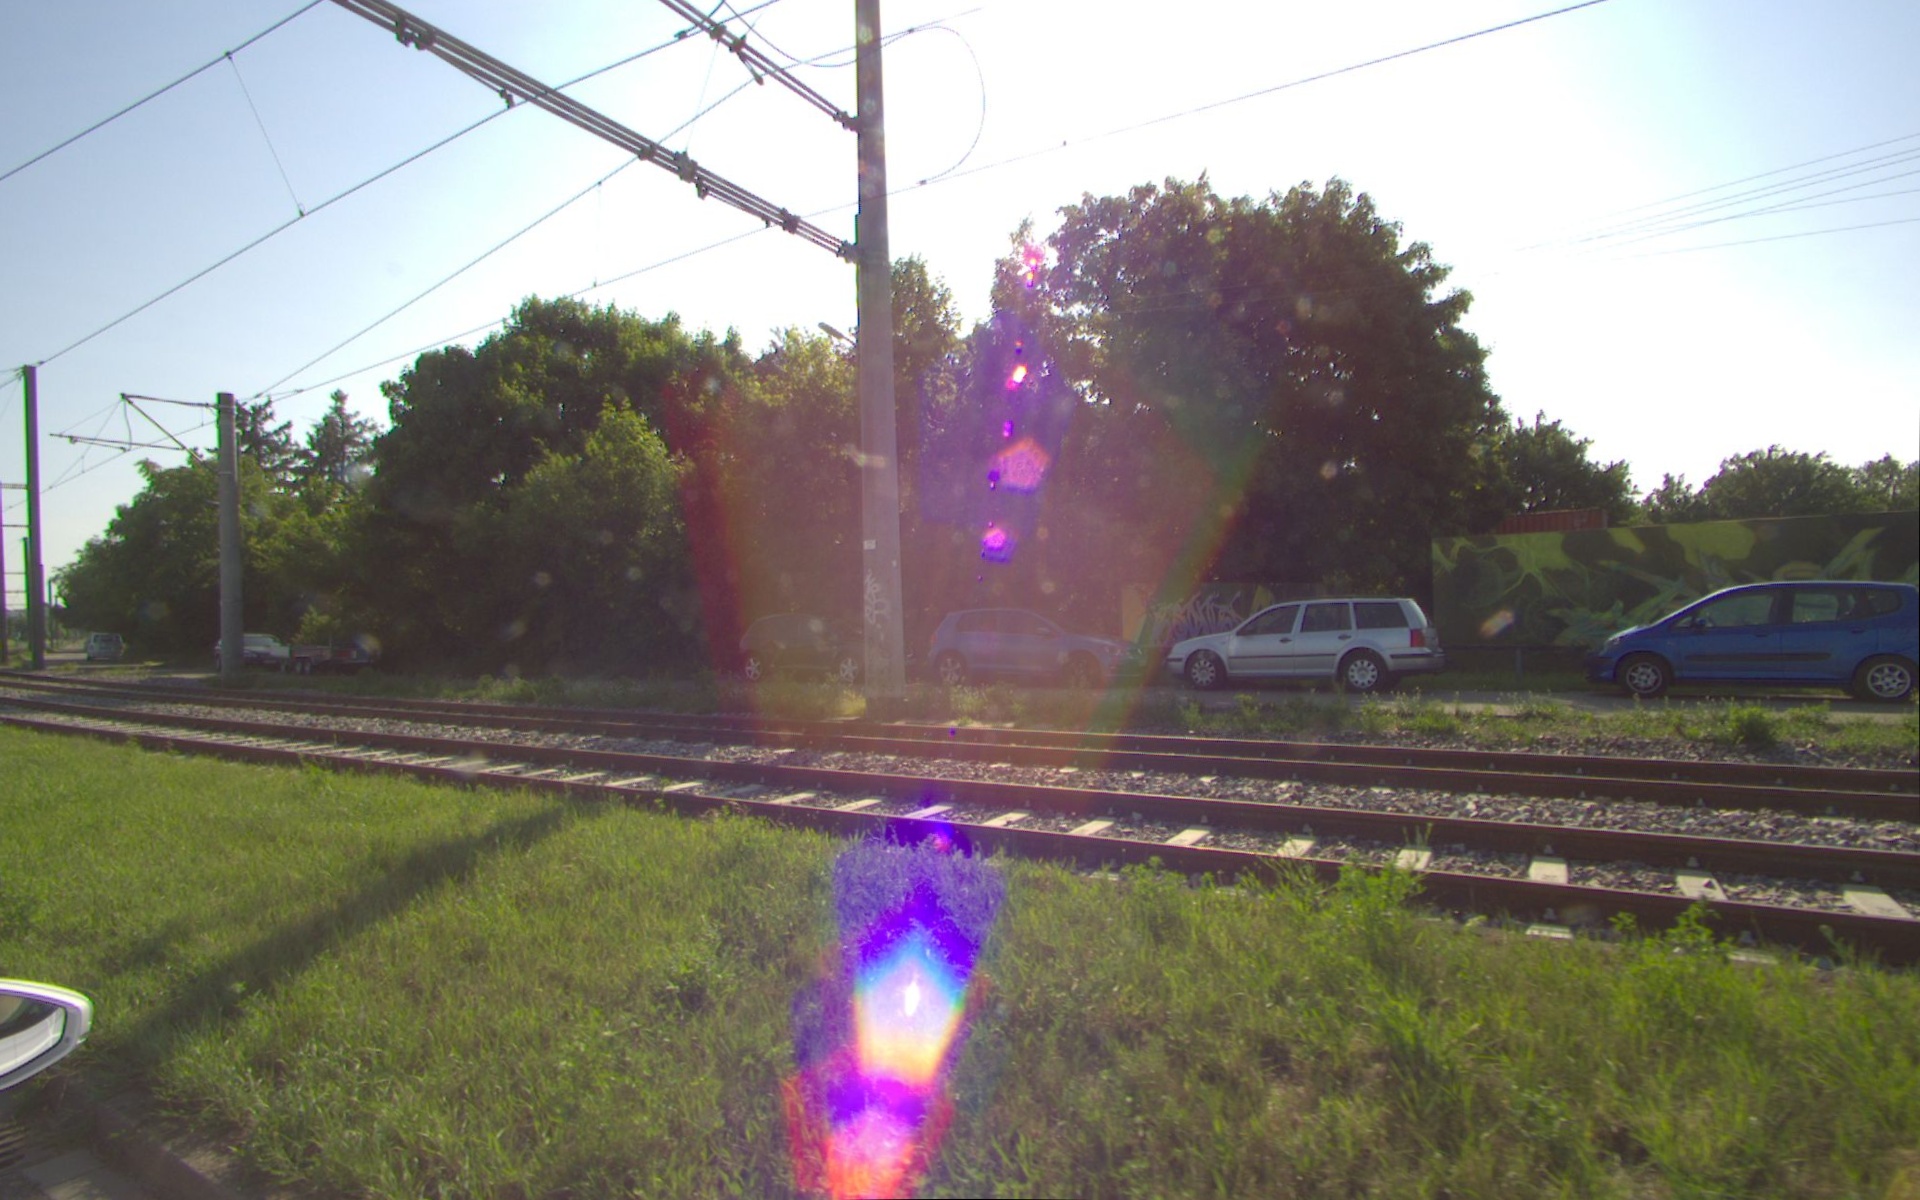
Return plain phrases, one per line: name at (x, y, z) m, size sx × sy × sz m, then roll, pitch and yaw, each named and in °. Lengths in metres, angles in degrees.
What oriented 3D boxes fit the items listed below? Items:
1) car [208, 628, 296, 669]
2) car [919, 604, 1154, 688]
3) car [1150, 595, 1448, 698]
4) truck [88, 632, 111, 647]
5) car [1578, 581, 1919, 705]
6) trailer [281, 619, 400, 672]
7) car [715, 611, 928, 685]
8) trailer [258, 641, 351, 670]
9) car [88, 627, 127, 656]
car at (-27.057, 1.817, 38.199) m, size 4.826 × 1.475 × 1.691 m, roll -2°, pitch -3°, yaw 42°
car at (1.373, 0.832, 18.542) m, size 4.086 × 1.419 × 1.483 m, roll -2°, pitch 0°, yaw 28°
car at (5.461, 0.699, 16.343) m, size 4.329 × 1.485 × 1.705 m, roll -1°, pitch 0°, yaw 33°
truck at (-110.501, 5.106, 128.575) m, size 2.188 × 1.842 × 5.877 m, roll -1°, pitch -1°, yaw -42°
car at (10.463, 0.547, 13.210) m, size 3.858 × 1.448 × 1.674 m, roll -1°, pitch -2°, yaw 35°
trailer at (-20.285, 1.505, 32.739) m, size 4.208 × 1.616 × 2.019 m, roll -2°, pitch -3°, yaw 39°
car at (-2.971, 1.006, 21.164) m, size 4.455 × 1.428 × 1.620 m, roll -2°, pitch -2°, yaw 31°
trailer at (-23.235, 1.958, 35.439) m, size 3.684 × 0.951 × 1.725 m, roll -2°, pitch -4°, yaw 39°
car at (-61.484, 3.014, 72.203) m, size 1.980 × 2.029 × 5.022 m, roll 3°, pitch -3°, yaw -42°
